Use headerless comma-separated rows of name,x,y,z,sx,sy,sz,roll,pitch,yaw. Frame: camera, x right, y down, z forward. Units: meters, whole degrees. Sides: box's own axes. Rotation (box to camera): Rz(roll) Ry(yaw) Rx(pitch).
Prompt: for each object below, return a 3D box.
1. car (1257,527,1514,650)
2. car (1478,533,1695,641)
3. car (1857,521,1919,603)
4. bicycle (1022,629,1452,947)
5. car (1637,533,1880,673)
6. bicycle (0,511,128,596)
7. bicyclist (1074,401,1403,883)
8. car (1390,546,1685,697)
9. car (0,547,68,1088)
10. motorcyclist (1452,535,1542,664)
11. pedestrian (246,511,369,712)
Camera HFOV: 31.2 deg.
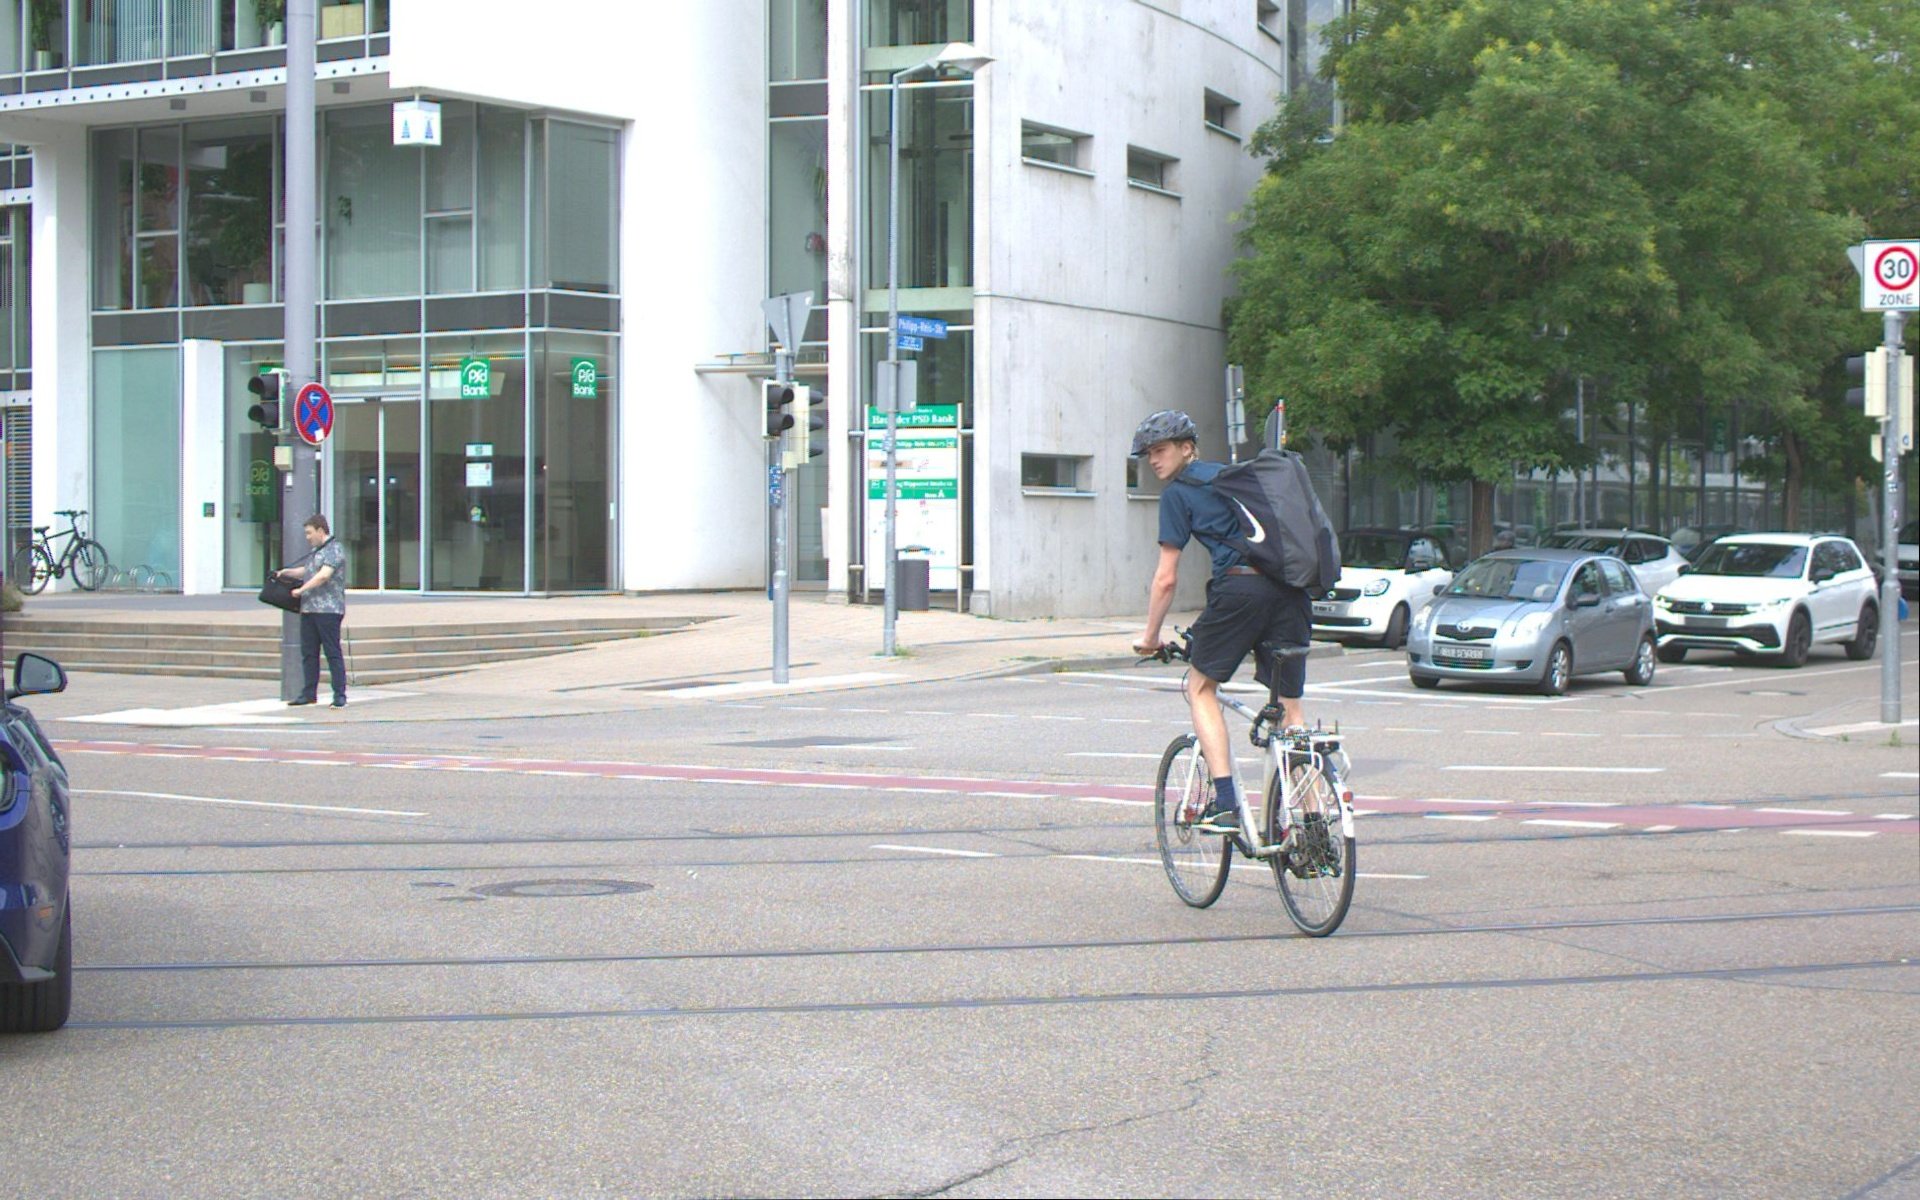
car,5.870,-0.198,47.063,1.833,1.551,4.209,3,2,32
car,9.740,-0.234,53.243,1.833,1.551,4.209,3,2,32
car,19.519,-0.775,68.591,1.989,1.551,4.505,3,2,30
bicycle,1.033,0.685,13.484,0.800,1.083,2.132,-1,1,-22
car,10.274,-0.003,44.042,1.718,1.654,4.125,3,2,32
bicycle,-12.774,-0.655,48.756,0.585,1.173,2.111,2,1,30
bicyclist,1.068,0.143,13.409,0.796,1.779,1.233,-1,1,-23
car,6.420,0.189,37.884,1.671,1.501,4.227,3,2,32
car,-3.872,0.544,10.927,1.875,1.399,4.283,0,1,-16
motorcyclist,6.882,-0.017,44.048,0.821,1.611,0.881,2,2,33
pedestrian,-6.130,0.095,32.291,0.835,1.858,0.764,0,1,41
